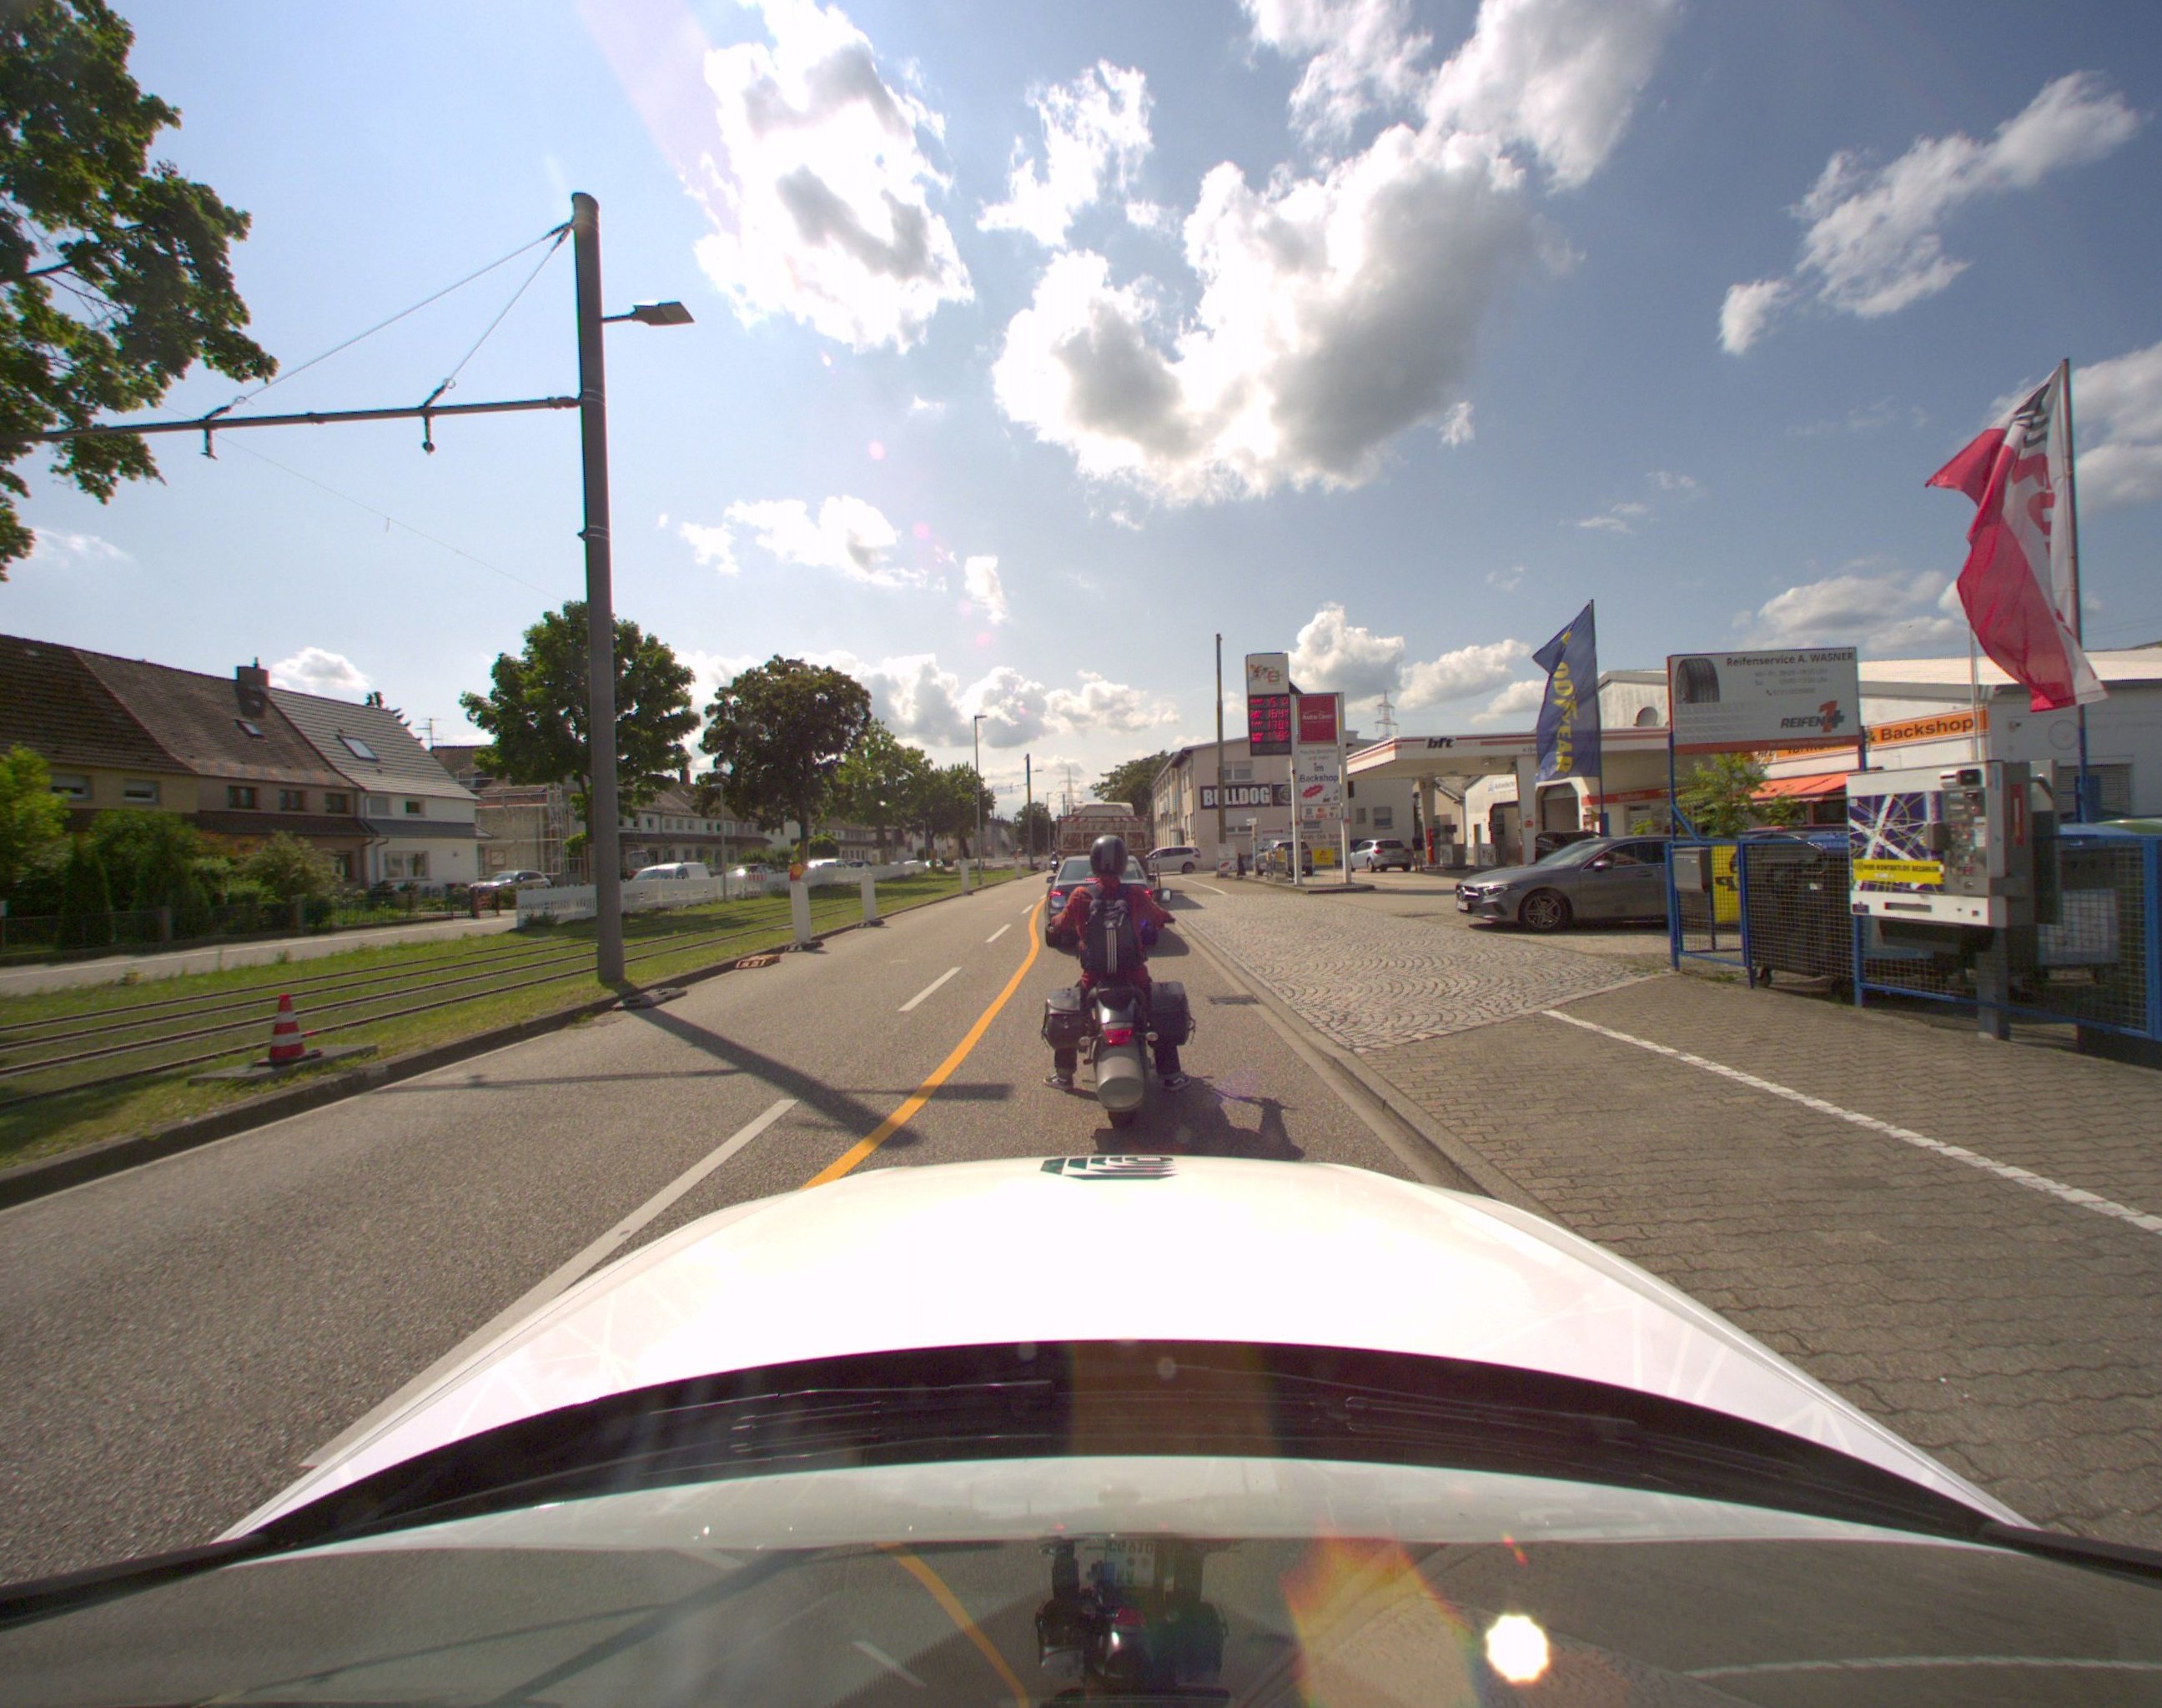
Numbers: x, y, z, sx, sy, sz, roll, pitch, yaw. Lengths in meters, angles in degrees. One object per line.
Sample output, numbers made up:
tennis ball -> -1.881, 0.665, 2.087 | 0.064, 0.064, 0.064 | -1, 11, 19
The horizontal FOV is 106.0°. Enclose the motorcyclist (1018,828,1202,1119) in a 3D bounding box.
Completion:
motorcyclist -> 0.180, 0.674, 5.141 | 0.975, 1.602, 1.088 | -2, 0, 1

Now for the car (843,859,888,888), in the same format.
car -> -14.802, 1.334, 56.039 | 1.769, 1.805, 4.130 | -2, 0, 2

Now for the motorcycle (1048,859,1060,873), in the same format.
motorcycle -> -2.126, 0.934, 63.947 | 0.866, 1.021, 2.244 | -2, 0, -1

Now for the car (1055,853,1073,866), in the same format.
car -> -2.030, 0.693, 98.954 | 1.816, 1.452, 4.326 | -3, 0, 2

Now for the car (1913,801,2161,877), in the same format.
car -> 21.523, -0.340, 18.164 | 4.180, 1.463, 1.587 | -2, 0, 2

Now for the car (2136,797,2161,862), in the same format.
car -> 26.527, -0.636, 18.001 | 4.180, 1.463, 1.587 | -2, 0, 2

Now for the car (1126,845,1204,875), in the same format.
car -> 4.814, 0.327, 47.101 | 4.222, 1.543, 1.670 | -2, 0, -5

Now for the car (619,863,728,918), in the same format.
car -> -15.458, 1.315, 31.157 | 1.769, 1.821, 4.366 | -2, 0, 2

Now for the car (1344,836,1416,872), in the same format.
car -> 13.478, -0.008, 36.919 | 1.800, 1.503, 3.832 | -2, 0, -1

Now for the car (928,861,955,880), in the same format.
car -> -13.725, 1.631, 80.456 | 1.769, 1.722, 4.130 | -2, 0, 2

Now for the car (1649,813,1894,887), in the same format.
car -> 15.774, -0.089, 18.757 | 4.180, 1.463, 1.587 | -2, 0, 2

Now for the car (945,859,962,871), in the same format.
car -> -19.628, 1.635, 125.918 | 1.769, 1.722, 4.130 | -2, 0, 2

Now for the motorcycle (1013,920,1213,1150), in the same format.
motorcycle -> 0.204, 1.023, 5.445 | 0.975, 0.897, 2.654 | -2, 0, 2

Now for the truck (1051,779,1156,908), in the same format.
truck -> 0.728, -0.289, 25.500 | 2.628, 3.296, 8.059 | -2, 0, 2

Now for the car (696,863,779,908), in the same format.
car -> -15.407, 1.368, 36.800 | 1.769, 1.774, 4.230 | -2, 0, 2

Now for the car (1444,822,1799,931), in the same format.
car -> 8.126, 0.339, 12.628 | 4.247, 1.415, 1.678 | -2, 0, 9

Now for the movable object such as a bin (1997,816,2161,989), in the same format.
movable object such as a bin -> 9.486, 0.373, 7.130 | 1.397, 1.396, 1.338 | -2, 0, 1

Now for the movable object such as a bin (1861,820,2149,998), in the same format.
movable object such as a bin -> 8.083, 0.444, 7.218 | 1.104, 1.396, 1.244 | -2, 0, 1

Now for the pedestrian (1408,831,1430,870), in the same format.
pedestrian -> 14.653, -0.132, 35.318 | 0.701, 1.656, 0.551 | -2, 0, 37

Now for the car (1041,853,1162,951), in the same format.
car -> 0.369, 0.727, 14.253 | 1.816, 1.452, 4.002 | 0, 0, 2

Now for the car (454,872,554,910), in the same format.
car -> -27.435, 1.724, 38.896 | 1.769, 1.519, 4.002 | -2, 0, 2

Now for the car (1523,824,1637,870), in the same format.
car -> 18.120, -0.247, 29.784 | 1.800, 1.503, 3.833 | -2, 0, 0

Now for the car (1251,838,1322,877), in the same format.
car -> 9.118, 0.150, 36.453 | 1.665, 1.562, 4.235 | -2, 0, -6

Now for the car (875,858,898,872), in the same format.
car -> -25.155, 1.401, 105.205 | 1.769, 1.722, 4.130 | -2, 0, 2

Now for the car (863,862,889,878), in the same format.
car -> -24.384, 1.838, 97.044 | 1.769, 1.722, 4.130 | -2, 0, 2

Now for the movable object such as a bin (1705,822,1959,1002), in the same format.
movable object such as a bin -> 6.689, 0.477, 7.359 | 1.104, 1.436, 1.244 | -2, 0, 1

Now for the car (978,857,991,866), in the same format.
car -> -19.088, 1.531, 161.355 | 1.769, 1.722, 4.252 | -2, 0, 2

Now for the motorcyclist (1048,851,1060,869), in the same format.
motorcyclist -> -2.132, 0.472, 63.877 | 0.866, 1.378, 0.800 | -2, 0, -1

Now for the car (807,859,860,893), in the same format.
car -> -15.062, 1.326, 49.862 | 1.769, 1.867, 4.130 | -2, 0, 2
